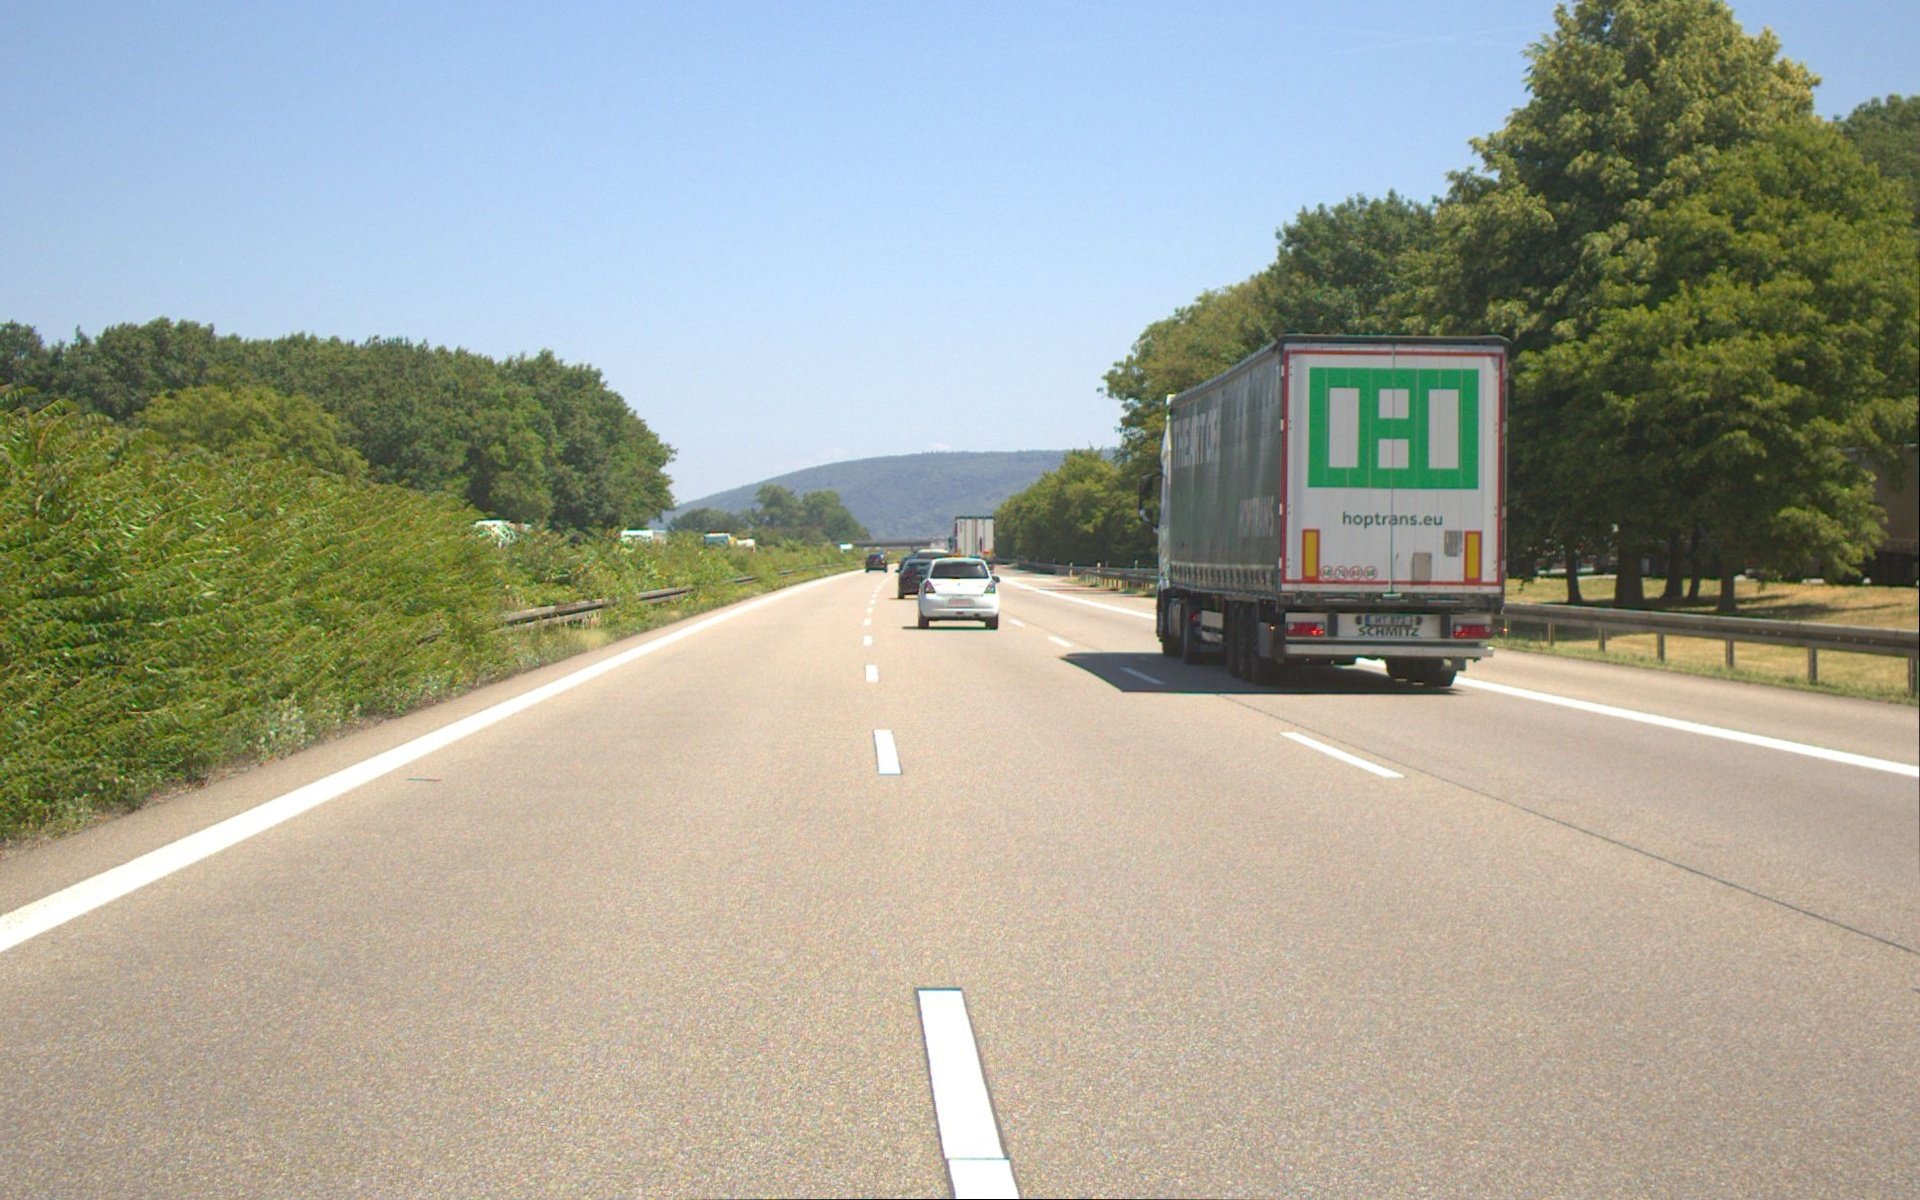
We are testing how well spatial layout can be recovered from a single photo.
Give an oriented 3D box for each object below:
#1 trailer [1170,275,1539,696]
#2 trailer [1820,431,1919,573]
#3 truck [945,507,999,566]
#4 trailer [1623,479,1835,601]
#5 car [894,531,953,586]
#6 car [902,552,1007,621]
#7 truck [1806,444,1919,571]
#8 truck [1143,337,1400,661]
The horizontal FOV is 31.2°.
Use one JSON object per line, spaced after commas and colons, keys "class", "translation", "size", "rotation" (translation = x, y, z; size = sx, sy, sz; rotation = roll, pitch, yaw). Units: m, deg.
{"class": "trailer", "translation": [4.713, -1.356, 43.844], "size": [3.181, 4.611, 12.051], "rotation": [0, 1, -1]}
{"class": "trailer", "translation": [27.196, -2.688, 98.181], "size": [3.103, 3.777, 13.360], "rotation": [1, 1, 5]}
{"class": "truck", "translation": [0.723, -4.187, 227.371], "size": [3.325, 3.744, 12.796], "rotation": [1, 1, -1]}
{"class": "trailer", "translation": [26.342, -2.058, 118.756], "size": [3.135, 3.939, 14.199], "rotation": [-1, 1, -4]}
{"class": "car", "translation": [-1.267, -1.495, 122.203], "size": [1.897, 1.886, 4.000], "rotation": [-1, 1, 2]}
{"class": "car", "translation": [-0.140, -0.305, 73.752], "size": [1.811, 1.400, 3.318], "rotation": [-1, 1, -8]}
{"class": "truck", "translation": [27.833, -2.794, 104.947], "size": [3.089, 3.777, 5.316], "rotation": [1, 1, 5]}
{"class": "truck", "translation": [4.589, -1.476, 51.792], "size": [3.182, 4.591, 5.948], "rotation": [0, 1, -1]}
